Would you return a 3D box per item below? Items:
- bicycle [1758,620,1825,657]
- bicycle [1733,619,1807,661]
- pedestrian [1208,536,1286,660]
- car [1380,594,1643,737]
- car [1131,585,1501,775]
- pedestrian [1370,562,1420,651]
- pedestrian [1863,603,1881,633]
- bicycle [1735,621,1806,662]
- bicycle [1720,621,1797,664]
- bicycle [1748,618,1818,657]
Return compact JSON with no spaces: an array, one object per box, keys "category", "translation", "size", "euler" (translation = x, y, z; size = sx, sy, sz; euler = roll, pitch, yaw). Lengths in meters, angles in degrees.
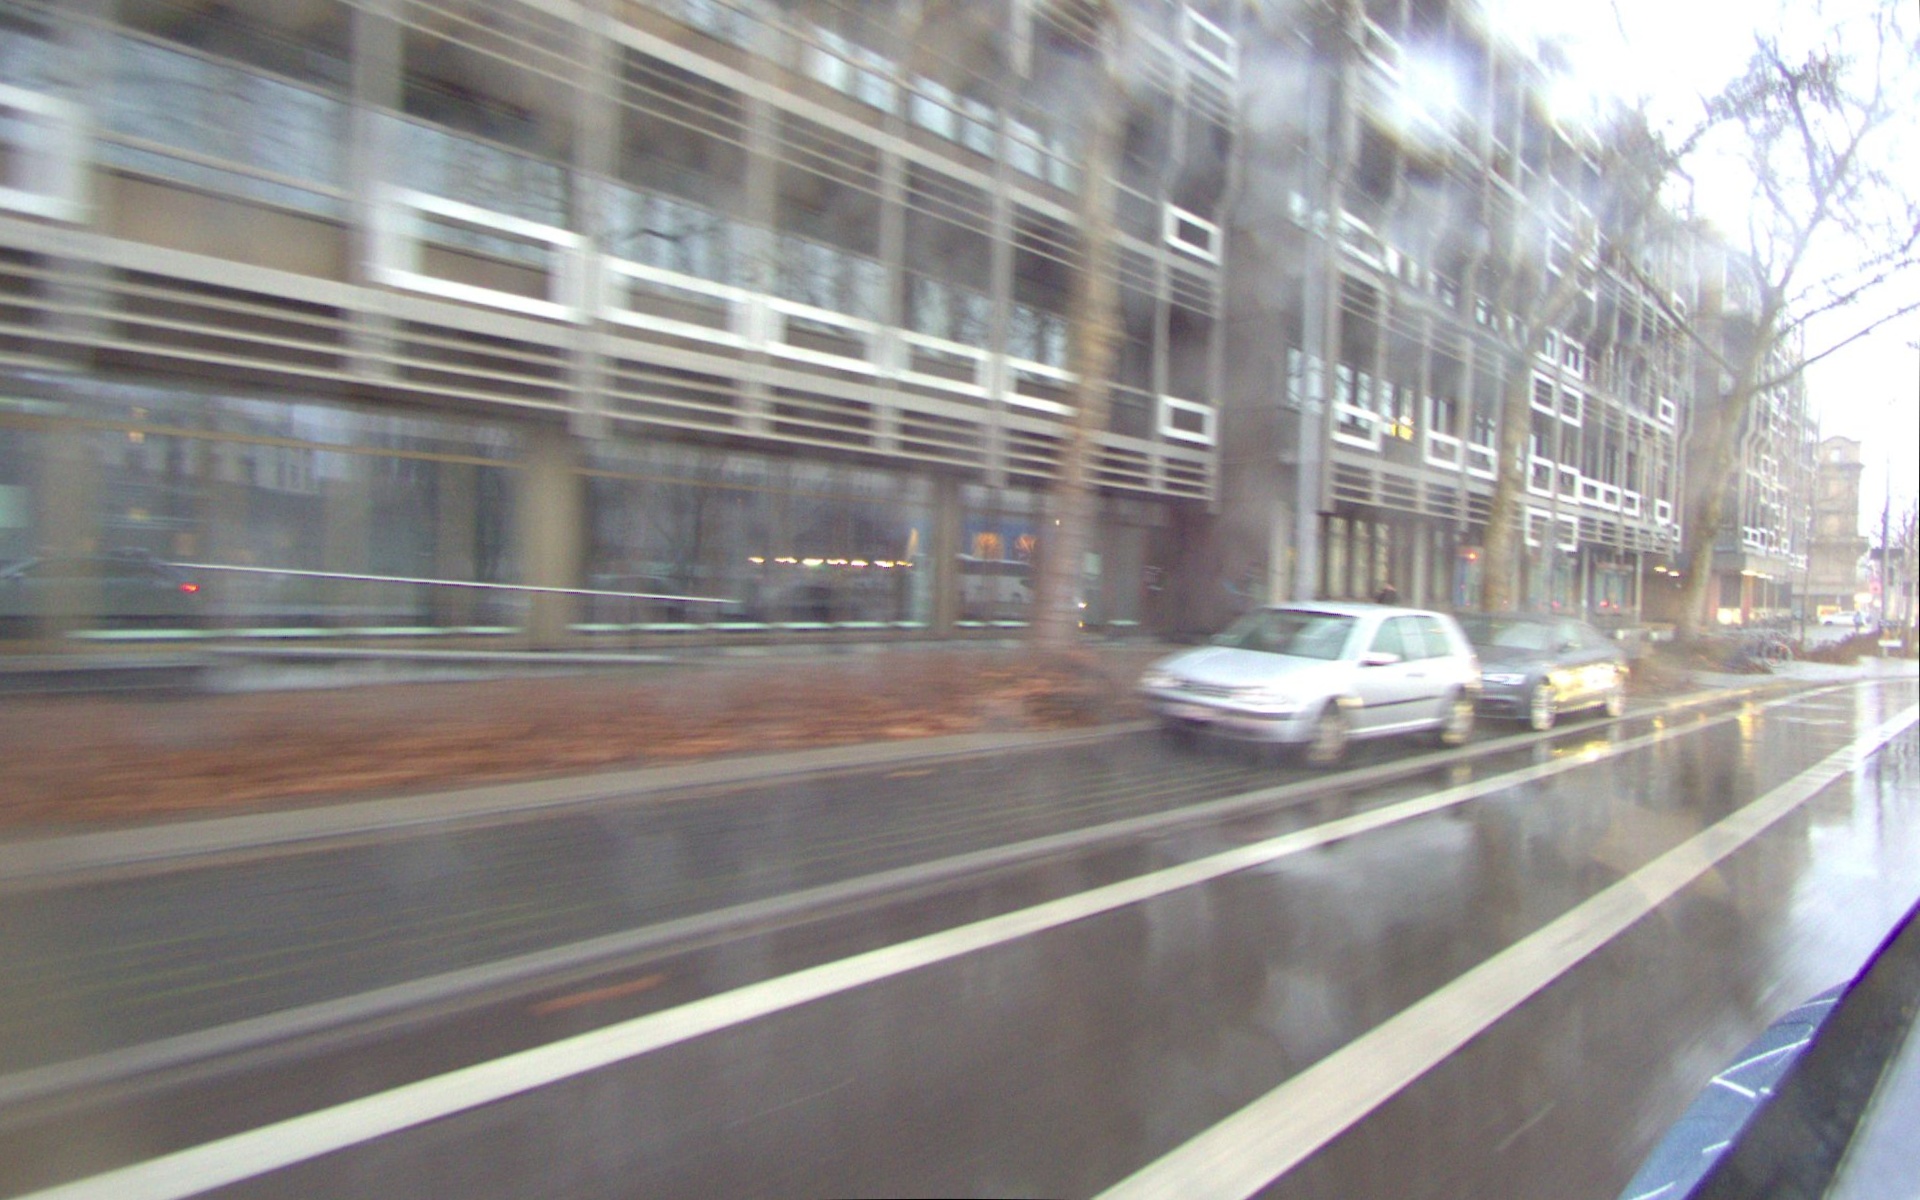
[{"category":"bicycle","translation":[24.570,1.124,29.926],"size":[1.518,1.049,0.462],"euler":[0,0,43]},{"category":"bicycle","translation":[21.517,1.044,26.904],"size":[1.518,1.049,0.462],"euler":[0,0,43]},{"category":"pedestrian","translation":[4.874,-0.038,17.193],"size":[1.006,2.039,0.790],"euler":[1,1,-40]},{"category":"car","translation":[7.400,0.758,13.434],"size":[3.948,1.567,1.763],"euler":[1,1,-41]},{"category":"car","translation":[3.648,0.657,10.107],"size":[3.858,1.449,1.609],"euler":[0,4,-38]},{"category":"pedestrian","translation":[10.292,0.140,23.960],"size":[0.723,2.039,0.821],"euler":[1,1,-42]},{"category":"pedestrian","translation":[63.756,1.252,70.774],"size":[0.758,2.039,0.837],"euler":[0,0,-41]},{"category":"bicycle","translation":[22.318,1.138,27.878],"size":[1.518,1.049,0.462],"euler":[0,0,43]},{"category":"bicycle","translation":[20.386,1.073,25.869],"size":[1.518,1.049,0.462],"euler":[0,0,43]},{"category":"bicycle","translation":[23.403,1.050,28.783],"size":[1.518,1.049,0.462],"euler":[0,0,43]}]
